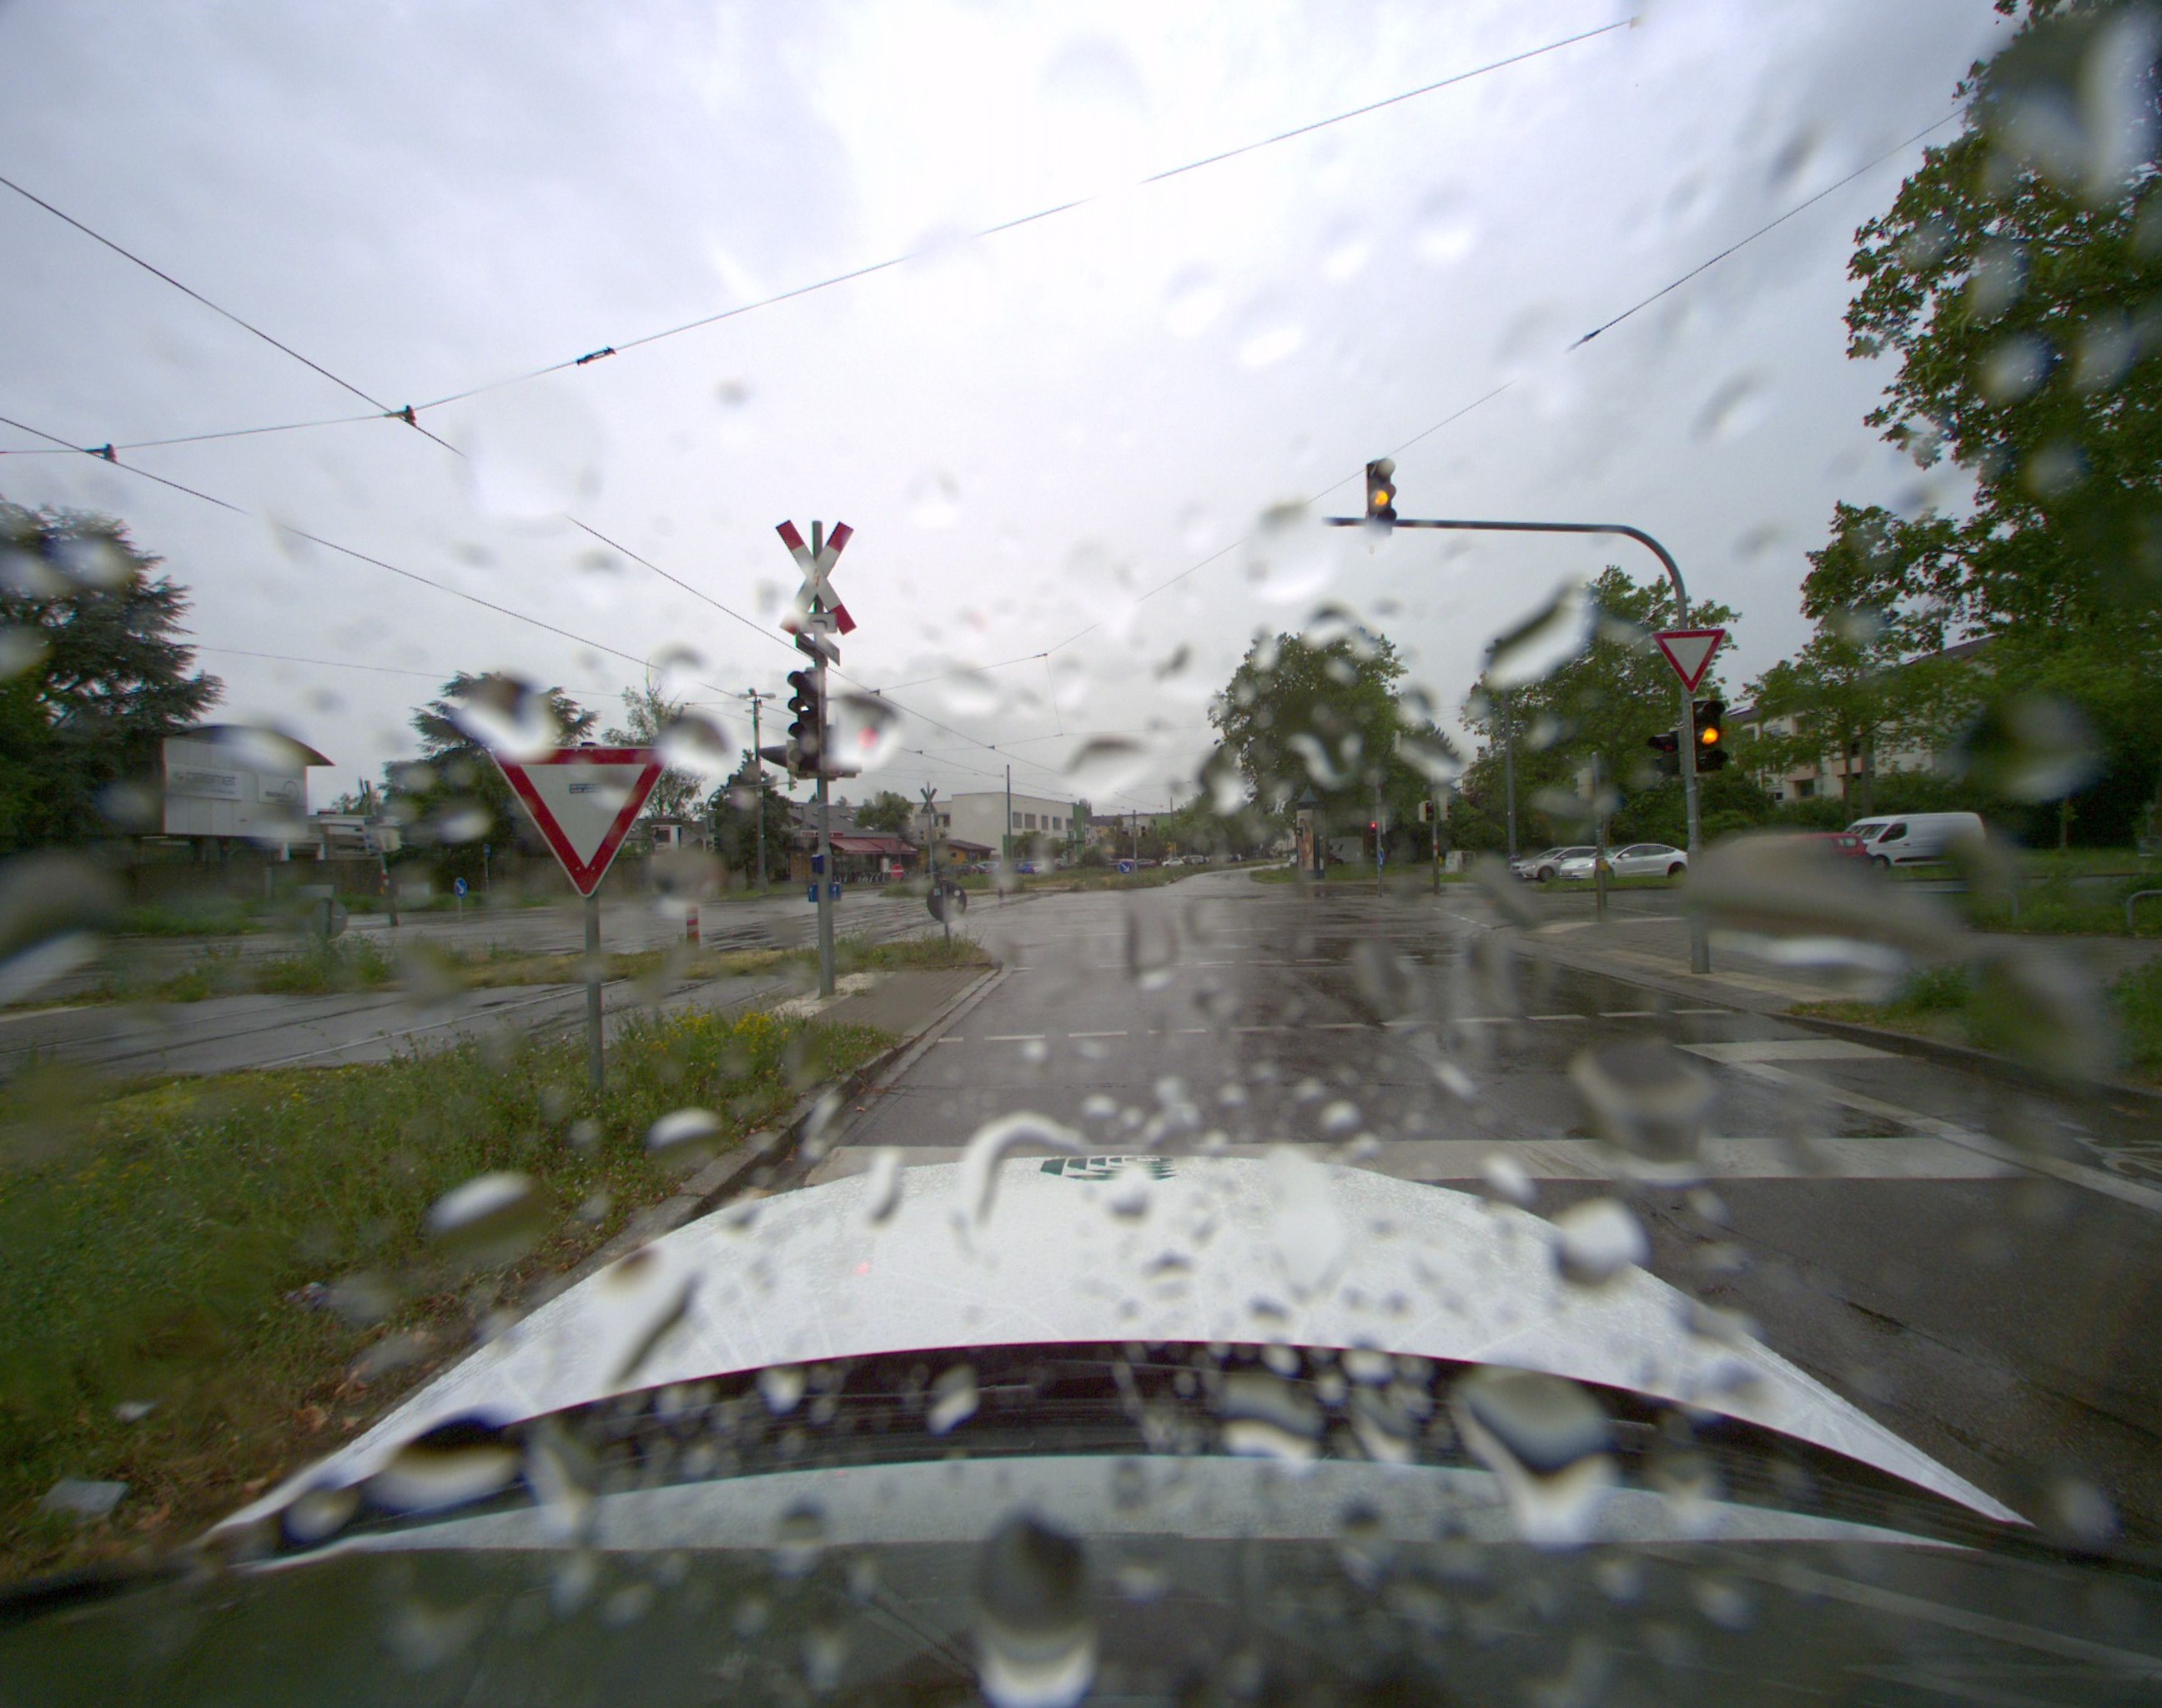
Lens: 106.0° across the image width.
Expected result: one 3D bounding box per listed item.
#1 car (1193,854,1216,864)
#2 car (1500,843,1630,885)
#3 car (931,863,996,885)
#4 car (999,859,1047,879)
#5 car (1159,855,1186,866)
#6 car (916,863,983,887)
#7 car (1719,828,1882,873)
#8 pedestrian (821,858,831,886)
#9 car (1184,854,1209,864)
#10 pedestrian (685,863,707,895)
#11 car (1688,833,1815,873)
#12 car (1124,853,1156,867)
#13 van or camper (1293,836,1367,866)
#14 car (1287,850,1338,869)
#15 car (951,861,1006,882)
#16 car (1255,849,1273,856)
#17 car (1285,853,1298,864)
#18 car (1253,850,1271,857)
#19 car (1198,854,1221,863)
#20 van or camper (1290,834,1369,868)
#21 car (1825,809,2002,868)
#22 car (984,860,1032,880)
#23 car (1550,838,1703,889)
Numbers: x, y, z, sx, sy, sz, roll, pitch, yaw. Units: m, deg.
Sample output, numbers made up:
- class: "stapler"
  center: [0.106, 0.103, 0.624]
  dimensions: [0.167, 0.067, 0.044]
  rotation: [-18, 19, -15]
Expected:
- class: "car"
  center: [23.240, 0.866, 153.515]
  dimensions: [3.986, 1.832, 1.994]
  rotation: [0, -1, -10]
- class: "car"
  center: [20.178, 0.413, 34.047]
  dimensions: [4.385, 1.691, 1.931]
  rotation: [0, -1, -5]
- class: "car"
  center: [-8.877, 1.523, 61.759]
  dimensions: [4.478, 1.418, 1.860]
  rotation: [-3, -1, 3]
- class: "car"
  center: [-5.221, 1.355, 73.199]
  dimensions: [4.112, 1.641, 1.922]
  rotation: [-1, -1, -12]
- class: "car"
  center: [14.219, 0.952, 126.633]
  dimensions: [3.772, 1.702, 1.832]
  rotation: [0, -1, -8]
- class: "car"
  center: [-9.556, 1.510, 59.367]
  dimensions: [4.459, 1.418, 1.860]
  rotation: [-3, -1, 3]
- class: "car"
  center: [26.986, -0.115, 30.656]
  dimensions: [4.589, 1.607, 1.790]
  rotation: [0, -1, -1]
- class: "pedestrian"
  center: [-19.001, 1.345, 60.724]
  dimensions: [0.725, 2.014, 0.789]
  rotation: [0, -1, -19]
- class: "car"
  center: [20.419, 0.851, 144.613]
  dimensions: [3.986, 1.759, 2.004]
  rotation: [0, -1, -10]
- class: "pedestrian"
  center: [-22.085, 1.446, 46.680]
  dimensions: [0.719, 1.797, 0.891]
  rotation: [0, 0, 19]
- class: "car"
  center: [28.255, -0.042, 34.411]
  dimensions: [4.048, 1.607, 1.788]
  rotation: [0, -1, -5]
- class: "car"
  center: [7.945, 0.843, 110.185]
  dimensions: [3.980, 1.887, 1.997]
  rotation: [0, -1, -5]
- class: "van or camper"
  center: [27.239, -0.320, 89.256]
  dimensions: [7.359, 3.178, 3.281]
  rotation: [-1, -1, 24]
- class: "car"
  center: [21.997, 0.503, 77.231]
  dimensions: [4.405, 1.717, 2.011]
  rotation: [-1, -1, 23]
- class: "car"
  center: [-8.180, 1.386, 65.077]
  dimensions: [3.966, 1.582, 1.862]
  rotation: [-2, -1, 6]
- class: "car"
  center: [45.500, -0.377, 202.608]
  dimensions: [3.977, 1.832, 1.998]
  rotation: [0, -1, -3]
- class: "car"
  center: [34.369, 0.706, 132.674]
  dimensions: [1.792, 1.686, 3.929]
  rotation: [-1, -1, 18]
- class: "car"
  center: [44.054, -0.138, 197.903]
  dimensions: [3.977, 1.832, 1.998]
  rotation: [0, -1, -3]
- class: "car"
  center: [24.977, 0.893, 158.546]
  dimensions: [3.977, 1.832, 1.998]
  rotation: [0, -1, -3]
- class: "van or camper"
  center: [24.441, -0.233, 80.123]
  dimensions: [7.261, 3.178, 3.278]
  rotation: [-1, -1, 20]
- class: "car"
  center: [35.186, -0.626, 34.519]
  dimensions: [5.589, 2.392, 1.999]
  rotation: [0, -1, -2]
- class: "car"
  center: [-6.285, 1.366, 70.047]
  dimensions: [3.986, 1.582, 1.924]
  rotation: [-2, -1, -9]
- class: "car"
  center: [20.477, 0.363, 30.675]
  dimensions: [4.585, 1.828, 1.931]
  rotation: [0, -1, -5]
